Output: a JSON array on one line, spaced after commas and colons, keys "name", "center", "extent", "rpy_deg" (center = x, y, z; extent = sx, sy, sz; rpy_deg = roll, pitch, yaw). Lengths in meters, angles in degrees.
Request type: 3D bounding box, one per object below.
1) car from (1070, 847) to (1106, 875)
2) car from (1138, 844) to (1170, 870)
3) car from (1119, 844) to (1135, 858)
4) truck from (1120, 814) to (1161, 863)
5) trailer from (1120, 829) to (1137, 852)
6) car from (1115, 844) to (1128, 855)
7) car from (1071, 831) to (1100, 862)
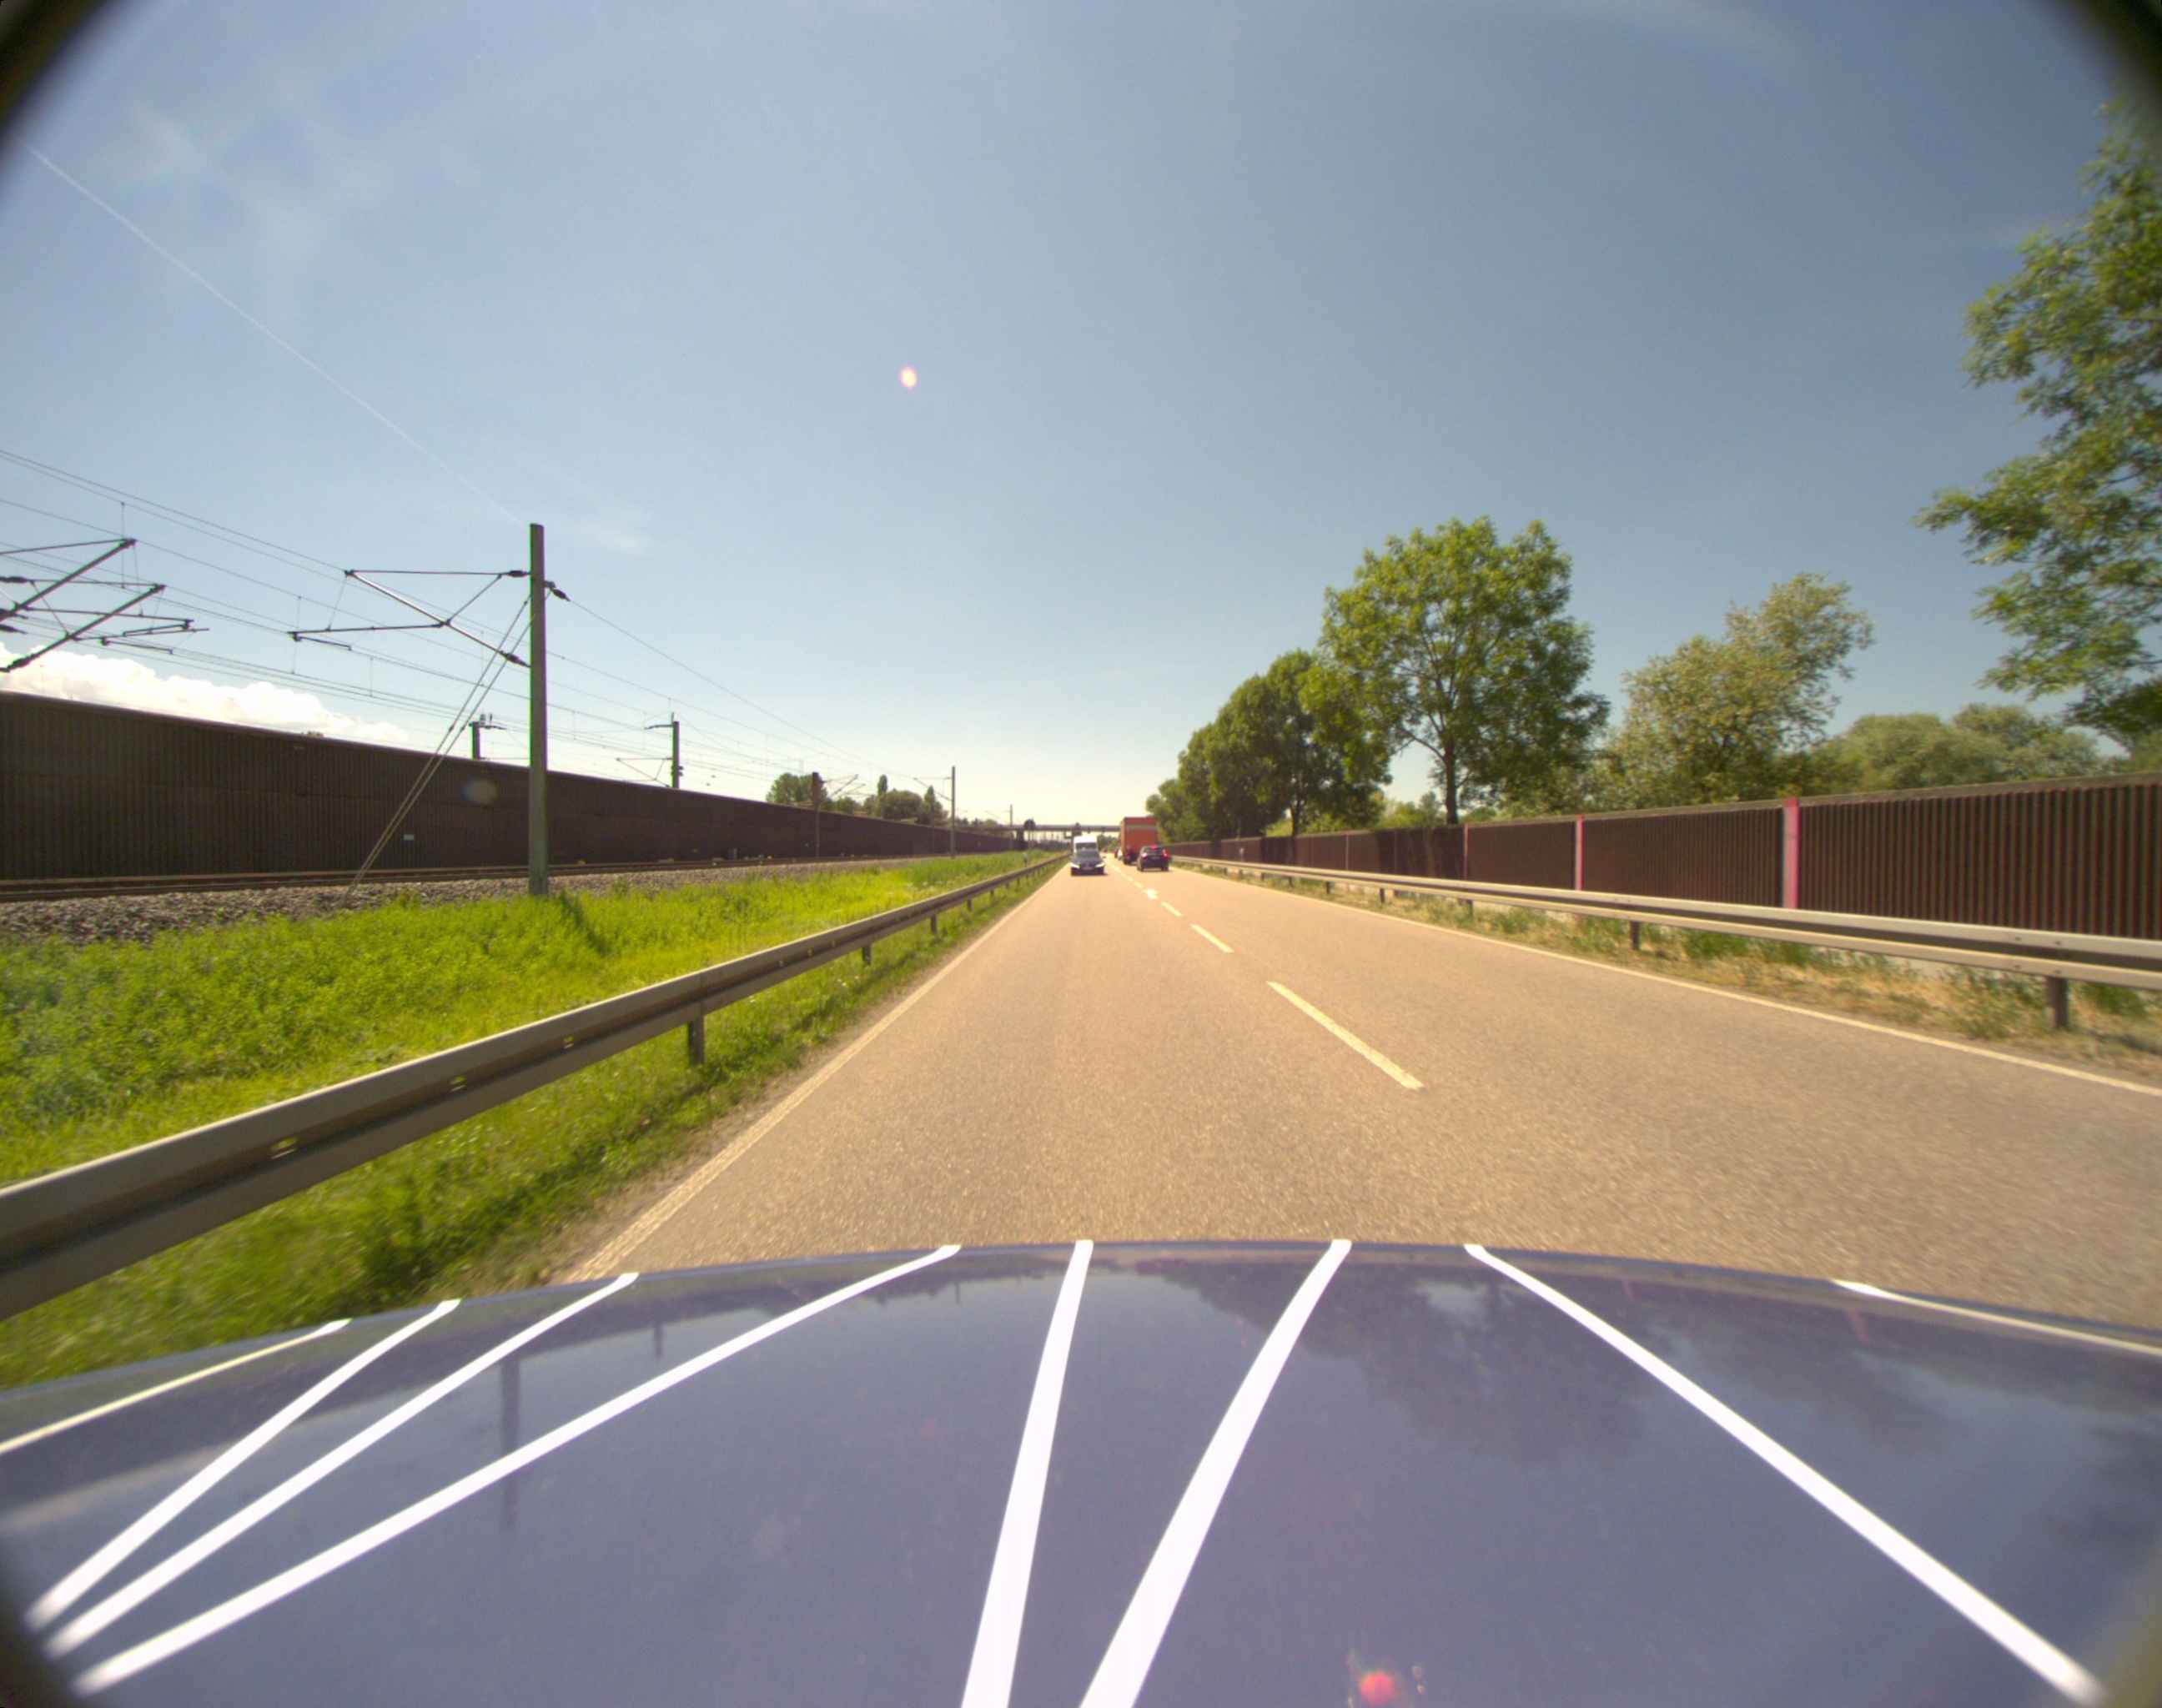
[{"name": "car", "center": [0.445, 0.370, 42.734], "extent": [1.847, 1.415, 4.562], "rpy_deg": [-1, 1, 2]}, {"name": "car", "center": [4.497, 0.170, 47.070], "extent": [1.626, 1.568, 3.763], "rpy_deg": [-1, 0, 1]}, {"name": "car", "center": [5.154, -0.357, 85.573], "extent": [1.689, 1.451, 4.616], "rpy_deg": [-2, 1, 2]}, {"name": "truck", "center": [4.940, -1.304, 64.712], "extent": [2.799, 3.818, 9.322], "rpy_deg": [-2, 1, 1]}, {"name": "trailer", "center": [8.937, -2.517, 143.625], "extent": [2.696, 4.022, 14.123], "rpy_deg": [-2, 1, 2]}, {"name": "car", "center": [5.853, -0.669, 108.584], "extent": [1.720, 1.580, 4.535], "rpy_deg": [-1, 1, 4]}, {"name": "car", "center": [0.413, -0.649, 64.598], "extent": [2.227, 2.480, 5.983], "rpy_deg": [-1, 0, 2]}]
